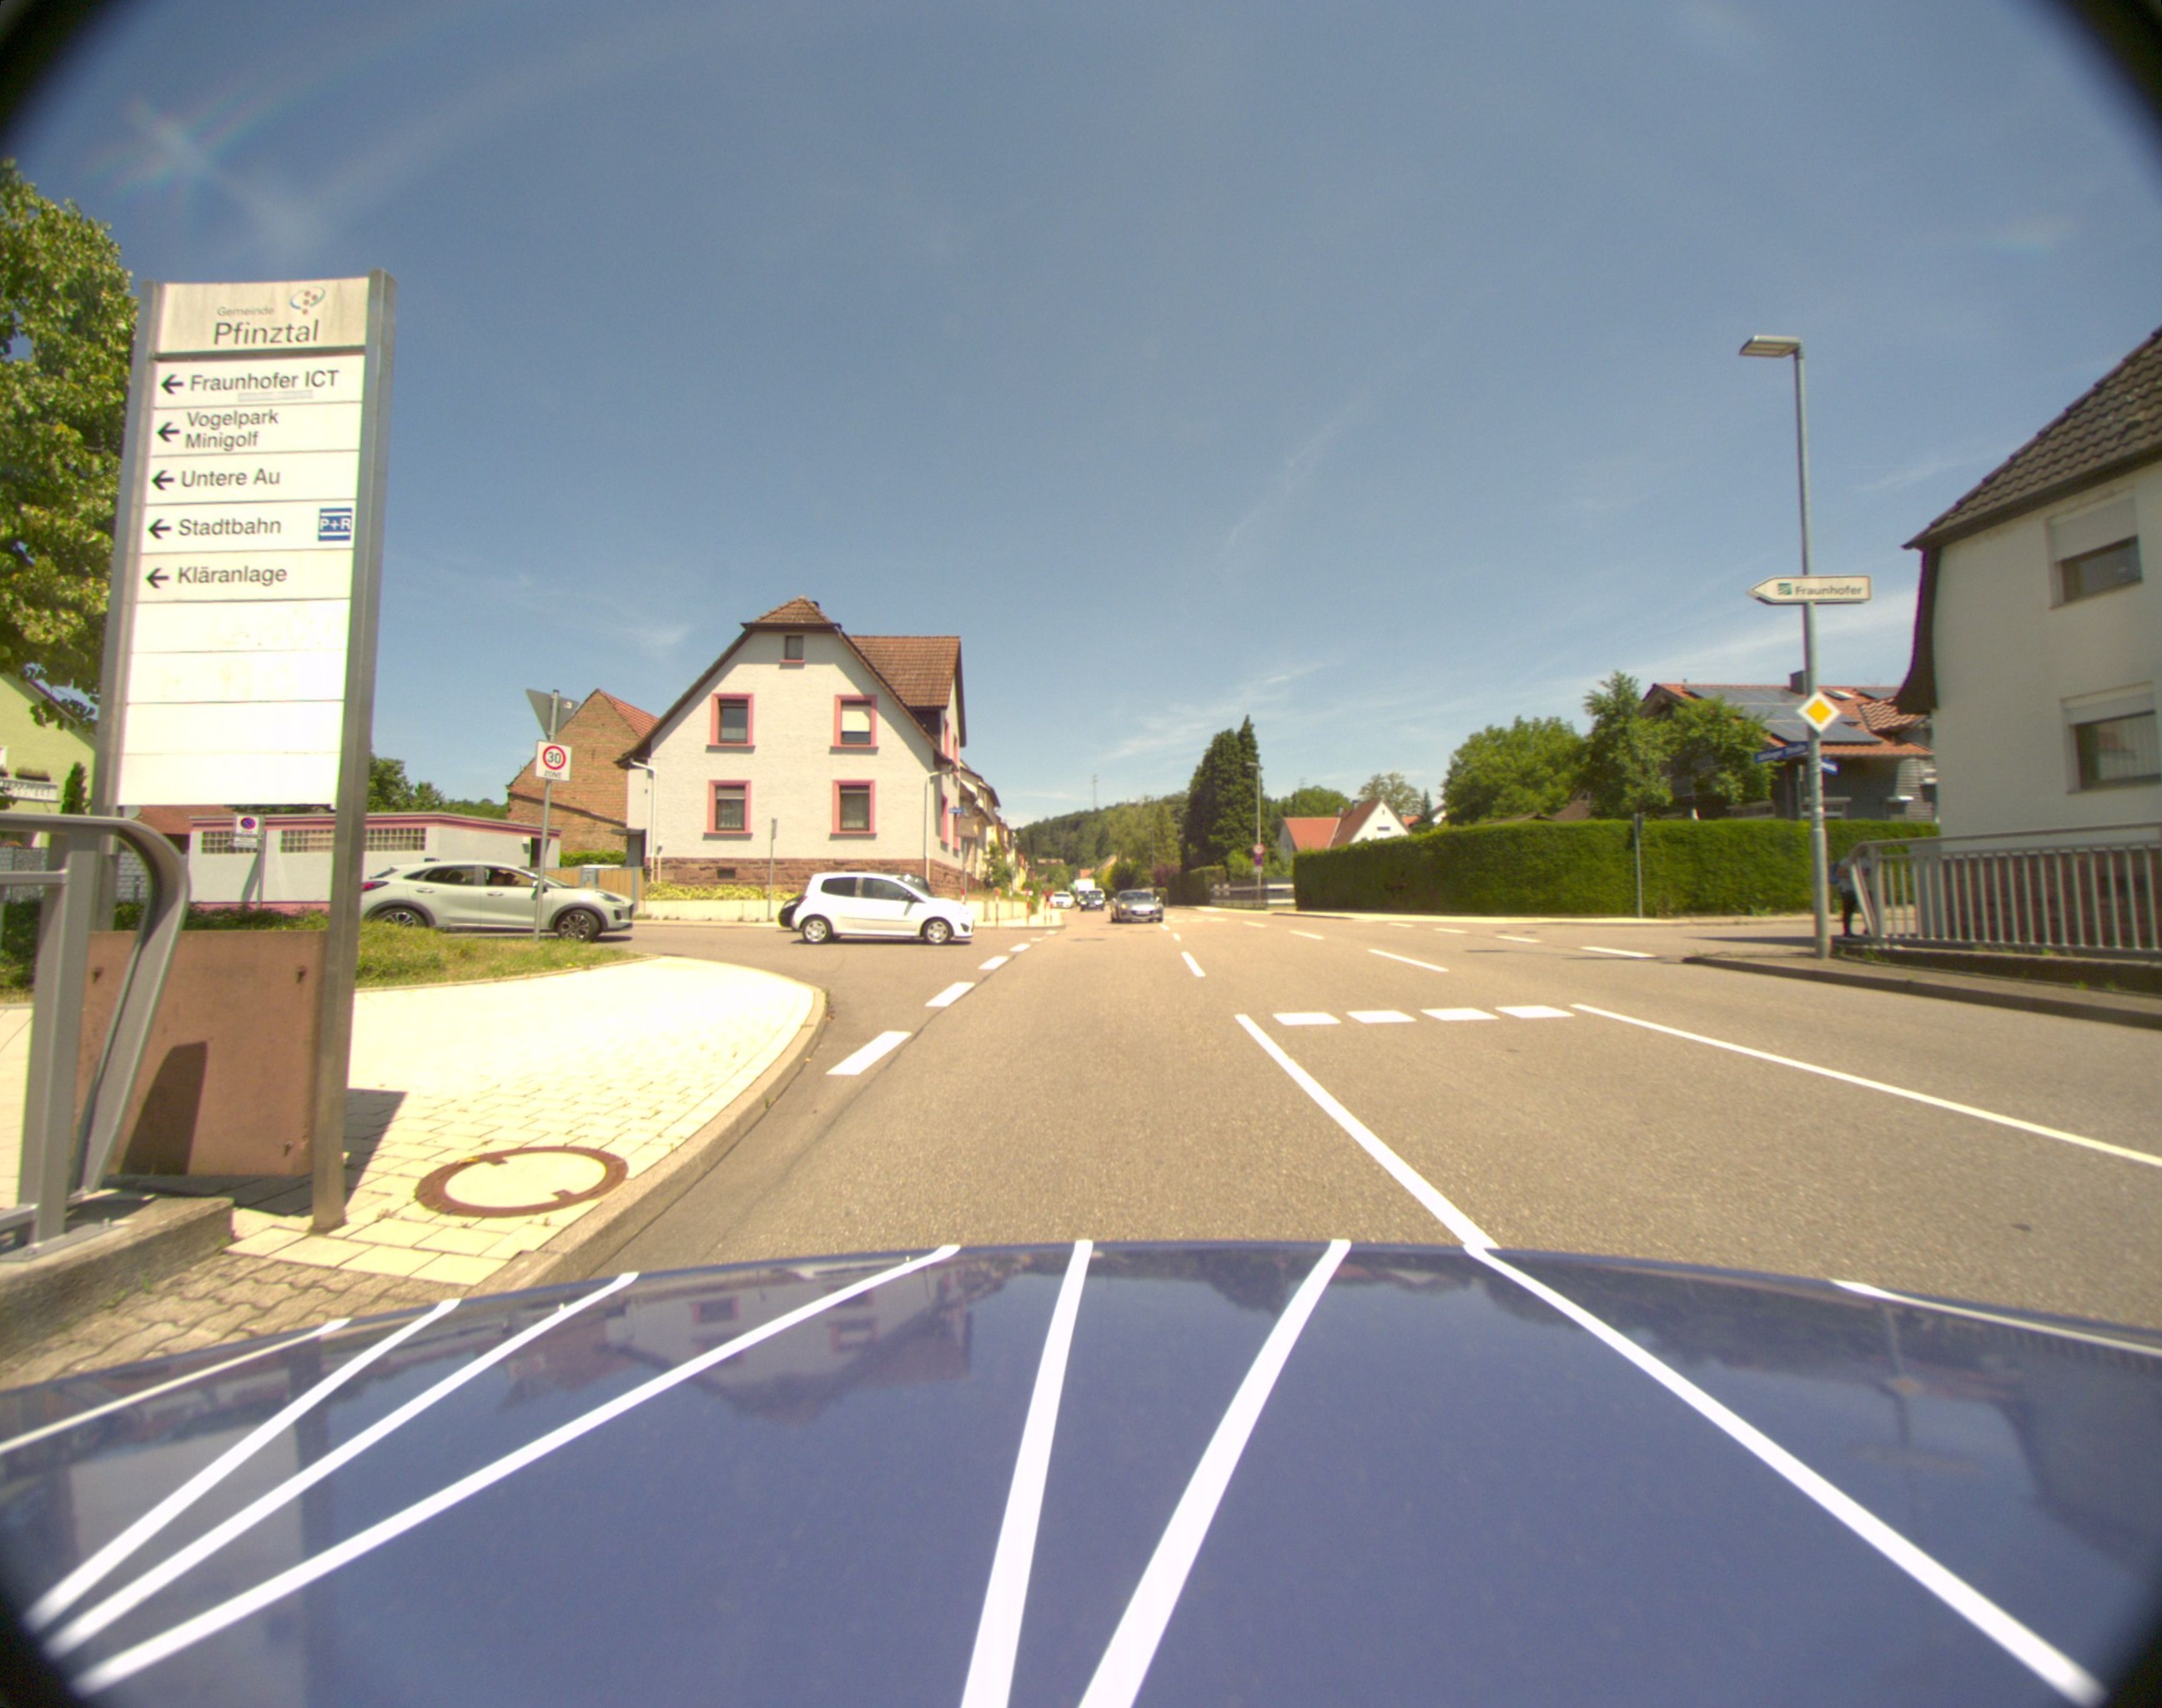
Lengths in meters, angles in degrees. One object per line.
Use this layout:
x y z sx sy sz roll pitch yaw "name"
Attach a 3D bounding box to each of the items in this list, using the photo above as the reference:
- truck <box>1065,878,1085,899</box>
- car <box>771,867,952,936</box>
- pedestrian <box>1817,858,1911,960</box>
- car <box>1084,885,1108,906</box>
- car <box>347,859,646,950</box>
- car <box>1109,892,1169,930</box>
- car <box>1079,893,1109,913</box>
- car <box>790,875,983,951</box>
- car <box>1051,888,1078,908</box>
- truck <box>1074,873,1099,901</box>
-0.998 5.819 127.603 3.149 3.464 8.275 -1 -3 -2 "truck"
-5.453 1.194 19.363 4.156 1.579 1.869 -1 -3 -6 "car"
13.803 0.938 13.416 0.729 1.719 0.856 -2 0 -4 "pedestrian"
1.483 4.248 77.590 1.999 2.001 4.548 -2 -2 -4 "car"
-10.749 0.962 14.407 4.132 1.526 1.772 3 -2 -25 "car"
2.168 2.149 29.319 1.910 1.296 4.158 -2 -3 -1 "car"
0.946 3.732 57.665 1.865 1.440 4.000 -1 -3 -5 "car"
-3.949 1.201 15.958 3.681 1.469 1.775 1 -1 -7 "car"
-1.427 3.832 66.307 1.998 1.509 4.147 3 -3 3 "car"
0.730 4.504 102.465 3.149 3.464 8.275 -1 -3 -1 "truck"
